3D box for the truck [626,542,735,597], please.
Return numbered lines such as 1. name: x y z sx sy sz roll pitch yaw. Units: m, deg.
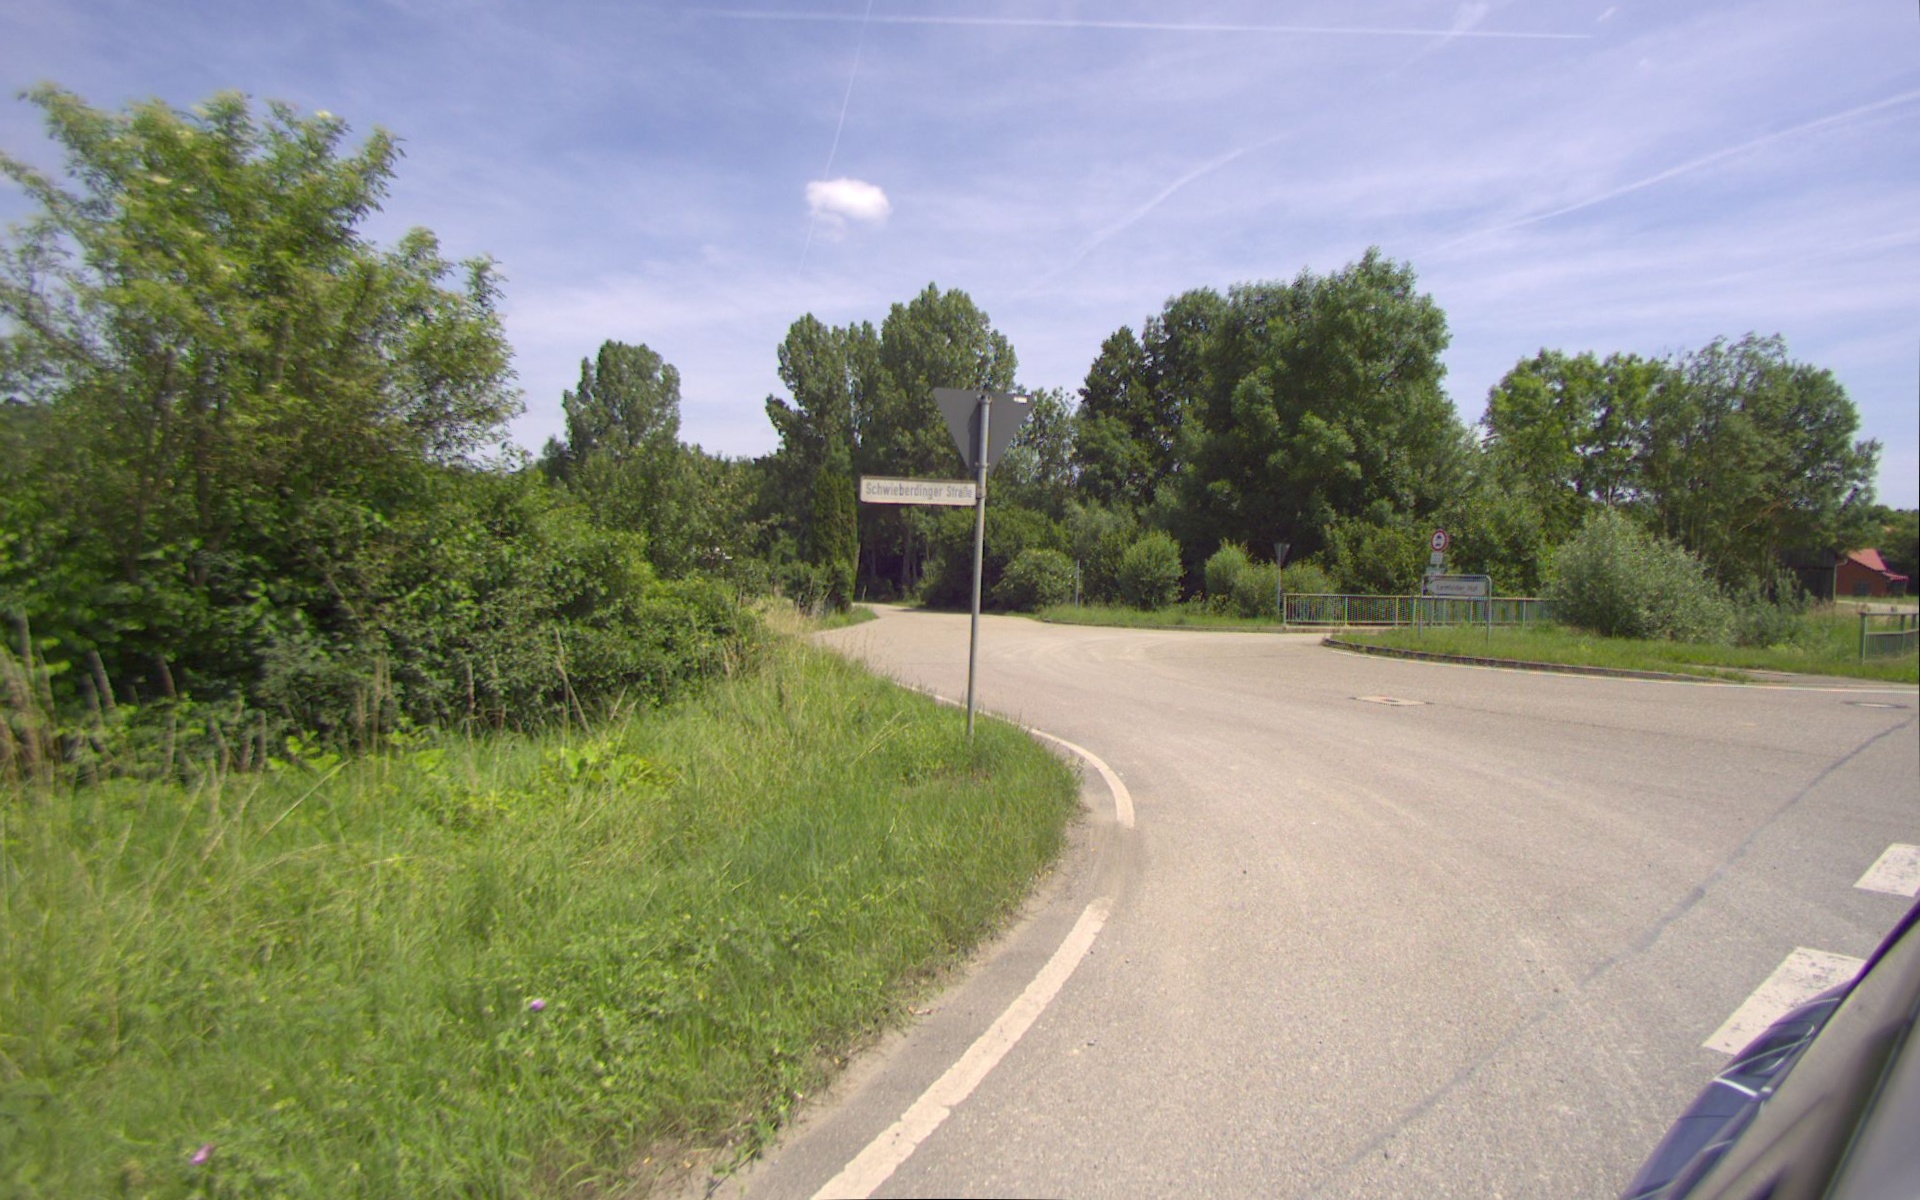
1. truck: -20.766 -2.325 74.498 11.548 3.741 2.344 3 2 45
